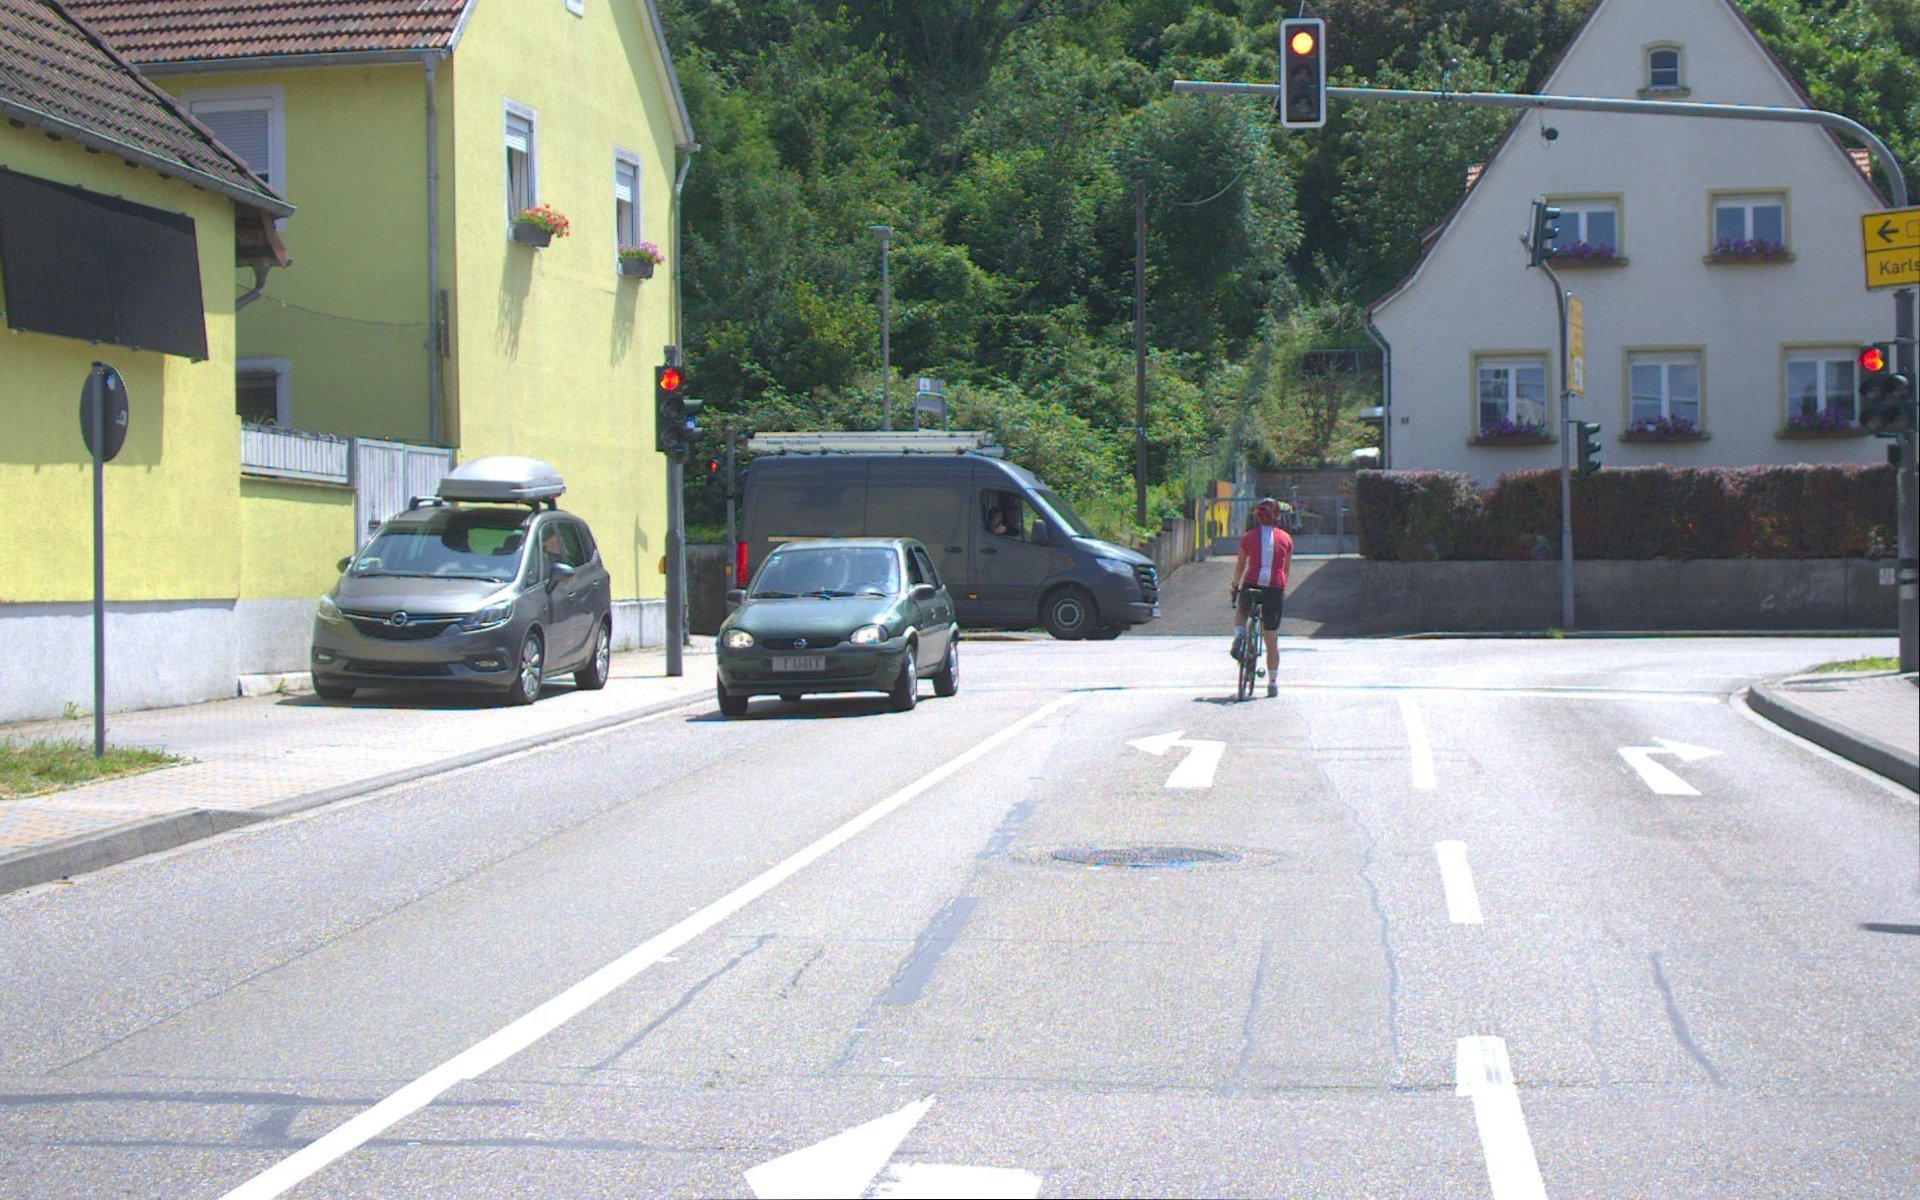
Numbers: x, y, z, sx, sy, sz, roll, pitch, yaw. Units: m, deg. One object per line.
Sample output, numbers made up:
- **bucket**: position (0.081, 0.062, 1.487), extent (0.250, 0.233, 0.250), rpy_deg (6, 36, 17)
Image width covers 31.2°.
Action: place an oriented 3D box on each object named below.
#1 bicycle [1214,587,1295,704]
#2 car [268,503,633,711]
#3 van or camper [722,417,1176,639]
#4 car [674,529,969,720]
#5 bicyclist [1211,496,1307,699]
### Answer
- **bicycle**: position (2.457, 0.363, 28.574), extent (0.630, 0.902, 1.657), rpy_deg (1, 1, 6)
- **car**: position (-4.317, 0.007, 29.917), extent (1.994, 1.630, 4.629), rpy_deg (1, 1, 7)
- **van or camper**: position (-0.133, -0.980, 48.159), extent (5.996, 2.994, 2.217), rpy_deg (0, 1, 15)
- **car**: position (-1.074, 0.156, 28.598), extent (1.781, 1.428, 3.871), rpy_deg (-2, 1, 7)
- **bicyclist**: position (2.502, -0.029, 28.682), extent (0.761, 1.659, 0.868), rpy_deg (1, 1, 6)
